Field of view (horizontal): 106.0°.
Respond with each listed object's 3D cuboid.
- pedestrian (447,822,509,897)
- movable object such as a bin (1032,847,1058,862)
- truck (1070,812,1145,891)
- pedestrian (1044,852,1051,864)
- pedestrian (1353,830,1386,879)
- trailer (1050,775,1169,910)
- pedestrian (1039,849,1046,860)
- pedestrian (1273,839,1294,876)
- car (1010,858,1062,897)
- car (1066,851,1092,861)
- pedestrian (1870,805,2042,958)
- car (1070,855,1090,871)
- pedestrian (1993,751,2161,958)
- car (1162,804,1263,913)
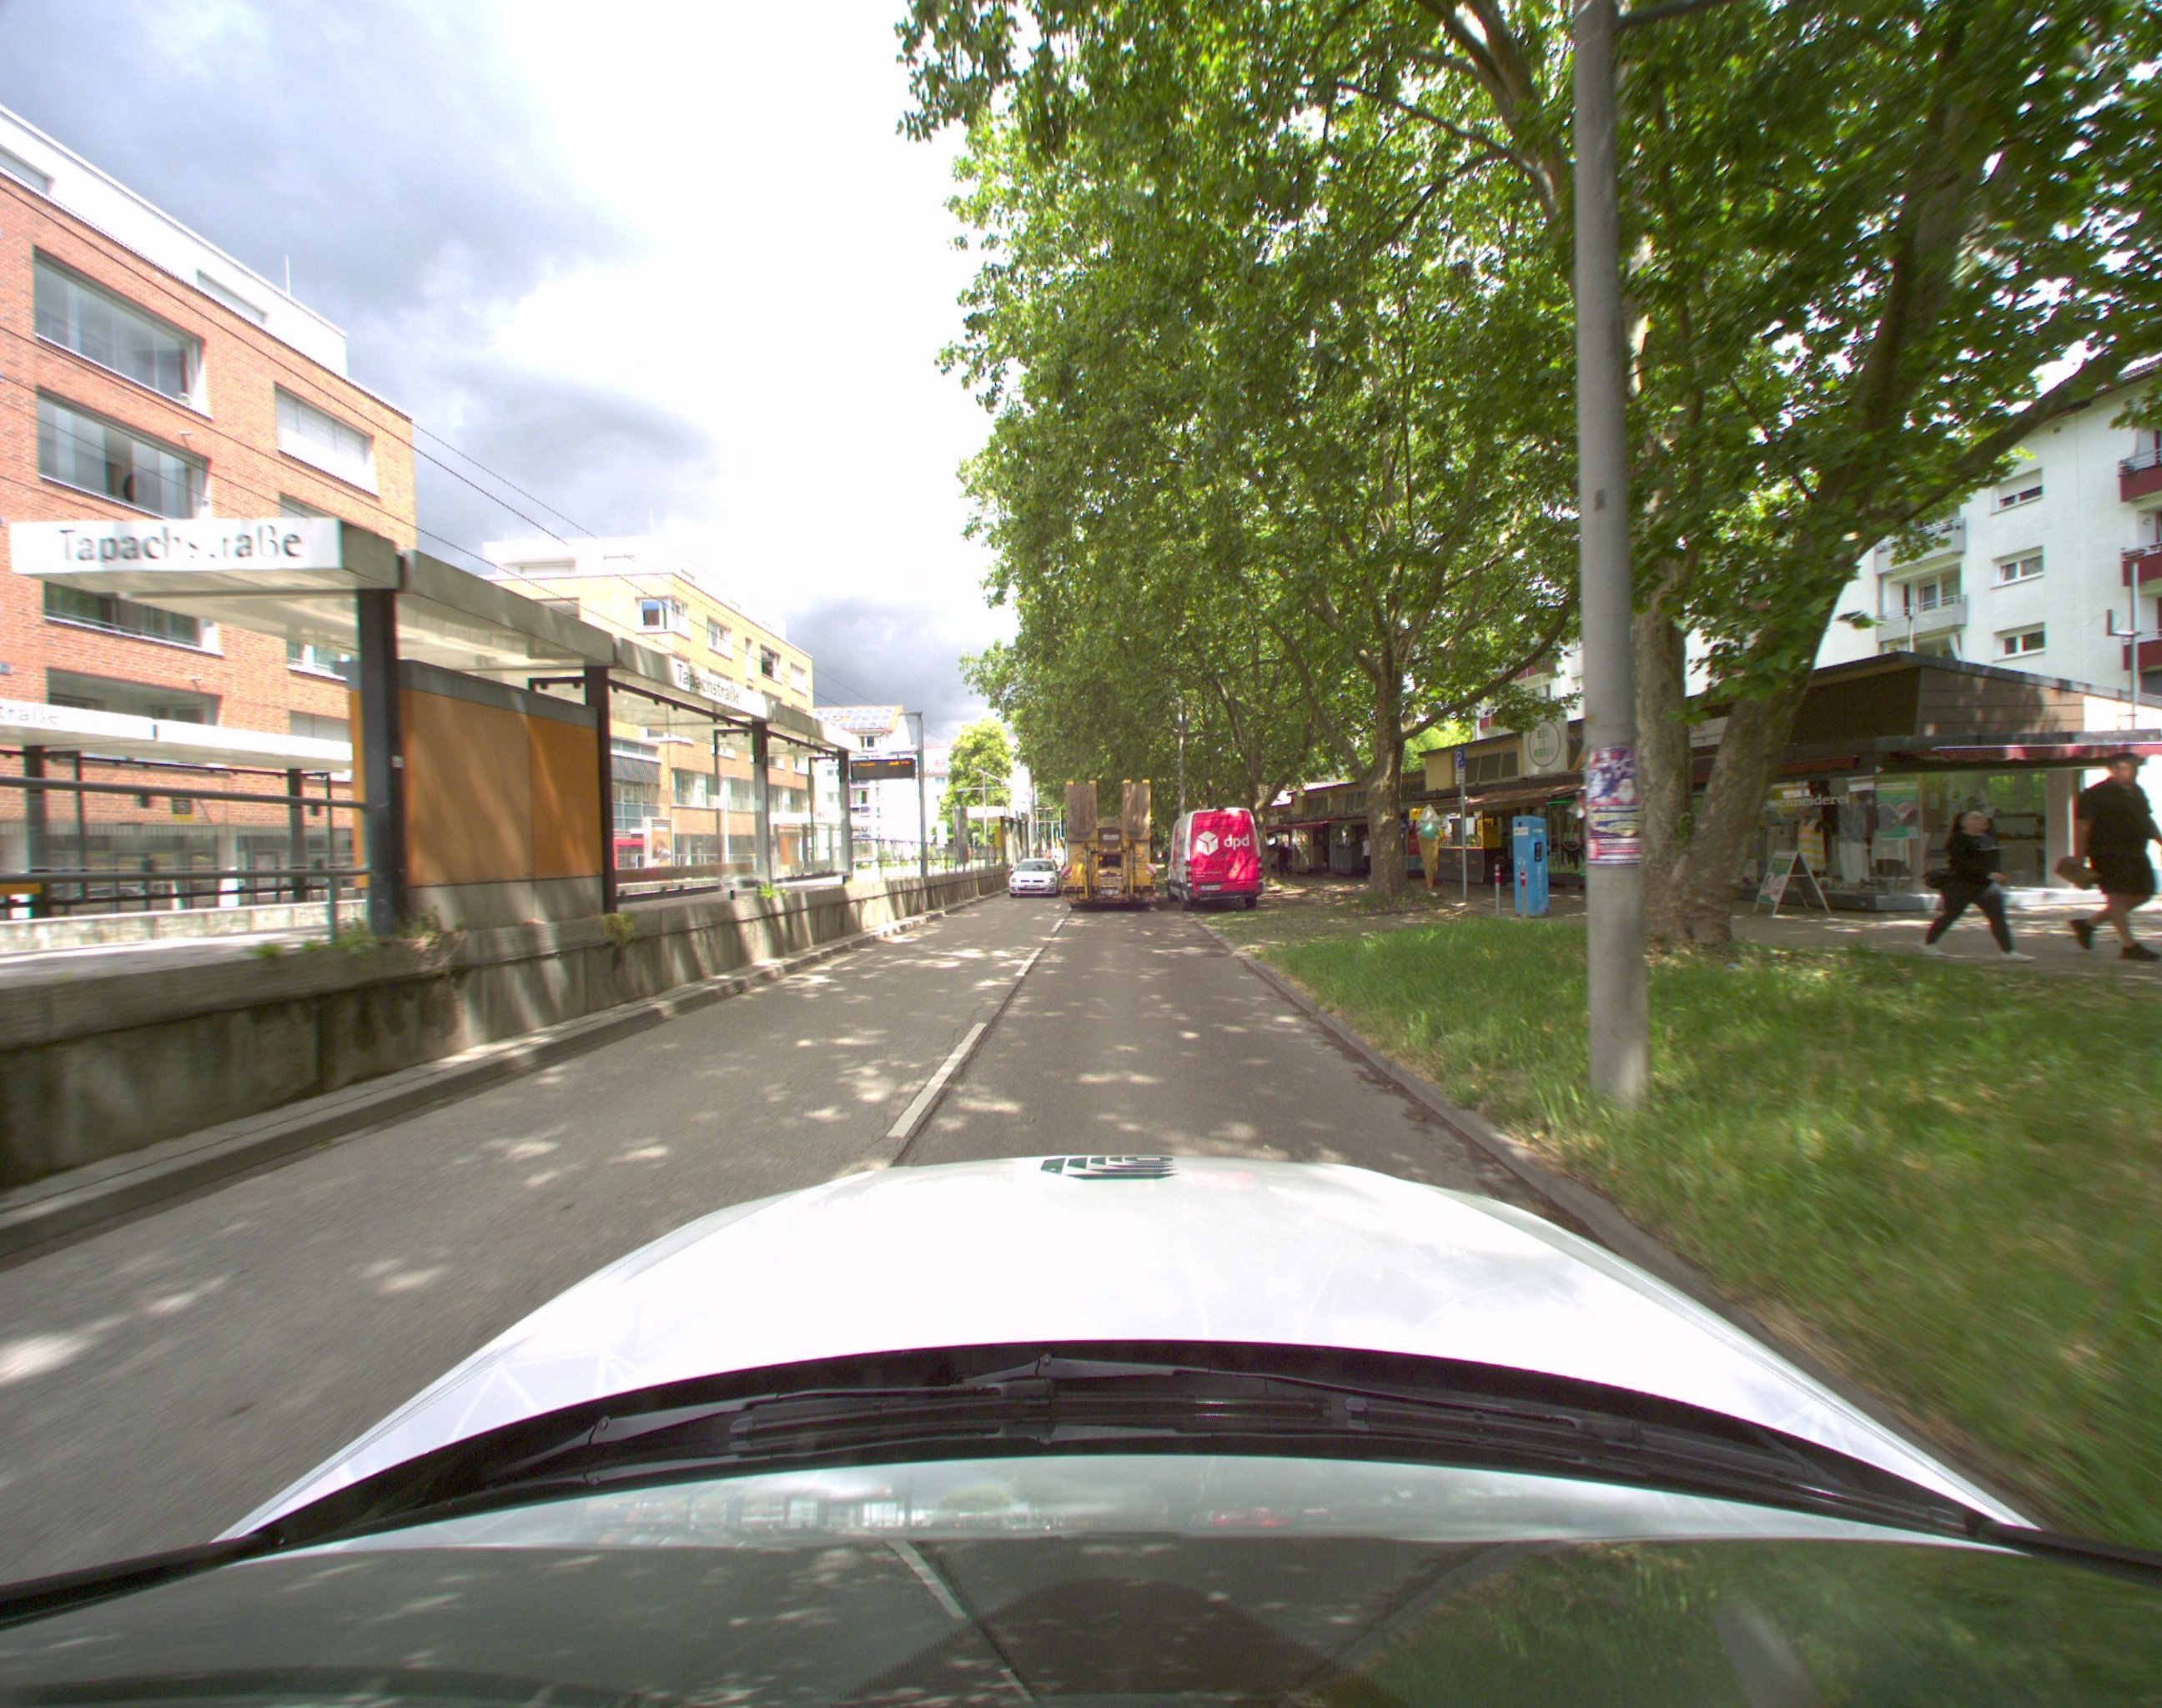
[{"bbox_3d":[-13.455,0.120,18.201,0.748,1.629,0.816,-1,0,2],"label":"pedestrian"},{"bbox_3d":[-6.636,0.113,150.174,4.325,2.629,2.234,-1,0,28],"label":"movable object such as a bin"},{"bbox_3d":[1.164,-0.094,36.737,2.978,3.135,7.890,-1,0,1],"label":"truck"},{"bbox_3d":[-5.444,0.680,131.712,0.890,1.867,0.830,-1,0,-27],"label":"pedestrian"},{"bbox_3d":[10.964,0.036,30.918,0.610,1.801,0.914,-1,-2,-44],"label":"pedestrian"},{"bbox_3d":[0.914,-0.309,27.252,3.142,3.552,11.100,-1,0,1],"label":"trailer"},{"bbox_3d":[-6.153,0.119,130.897,0.878,1.760,0.841,-1,0,18],"label":"pedestrian"},{"bbox_3d":[9.797,0.170,39.460,0.757,1.724,0.658,-3,0,-3],"label":"pedestrian"},{"bbox_3d":[-1.658,0.840,31.198,1.726,1.396,3.751,0,0,0],"label":"car"},{"bbox_3d":[-0.406,0.409,163.057,5.094,2.102,1.968,0,0,-13],"label":"car"},{"bbox_3d":[8.880,0.263,8.317,0.623,1.447,1.029,-2,0,2],"label":"pedestrian"},{"bbox_3d":[-0.111,0.804,76.975,1.756,1.481,4.578,0,0,1],"label":"car"},{"bbox_3d":[9.914,-0.003,7.988,0.741,1.883,0.942,-4,-1,1],"label":"pedestrian"},{"bbox_3d":[3.593,0.123,23.560,1.897,2.581,6.837,-3,0,2],"label":"car"}]
